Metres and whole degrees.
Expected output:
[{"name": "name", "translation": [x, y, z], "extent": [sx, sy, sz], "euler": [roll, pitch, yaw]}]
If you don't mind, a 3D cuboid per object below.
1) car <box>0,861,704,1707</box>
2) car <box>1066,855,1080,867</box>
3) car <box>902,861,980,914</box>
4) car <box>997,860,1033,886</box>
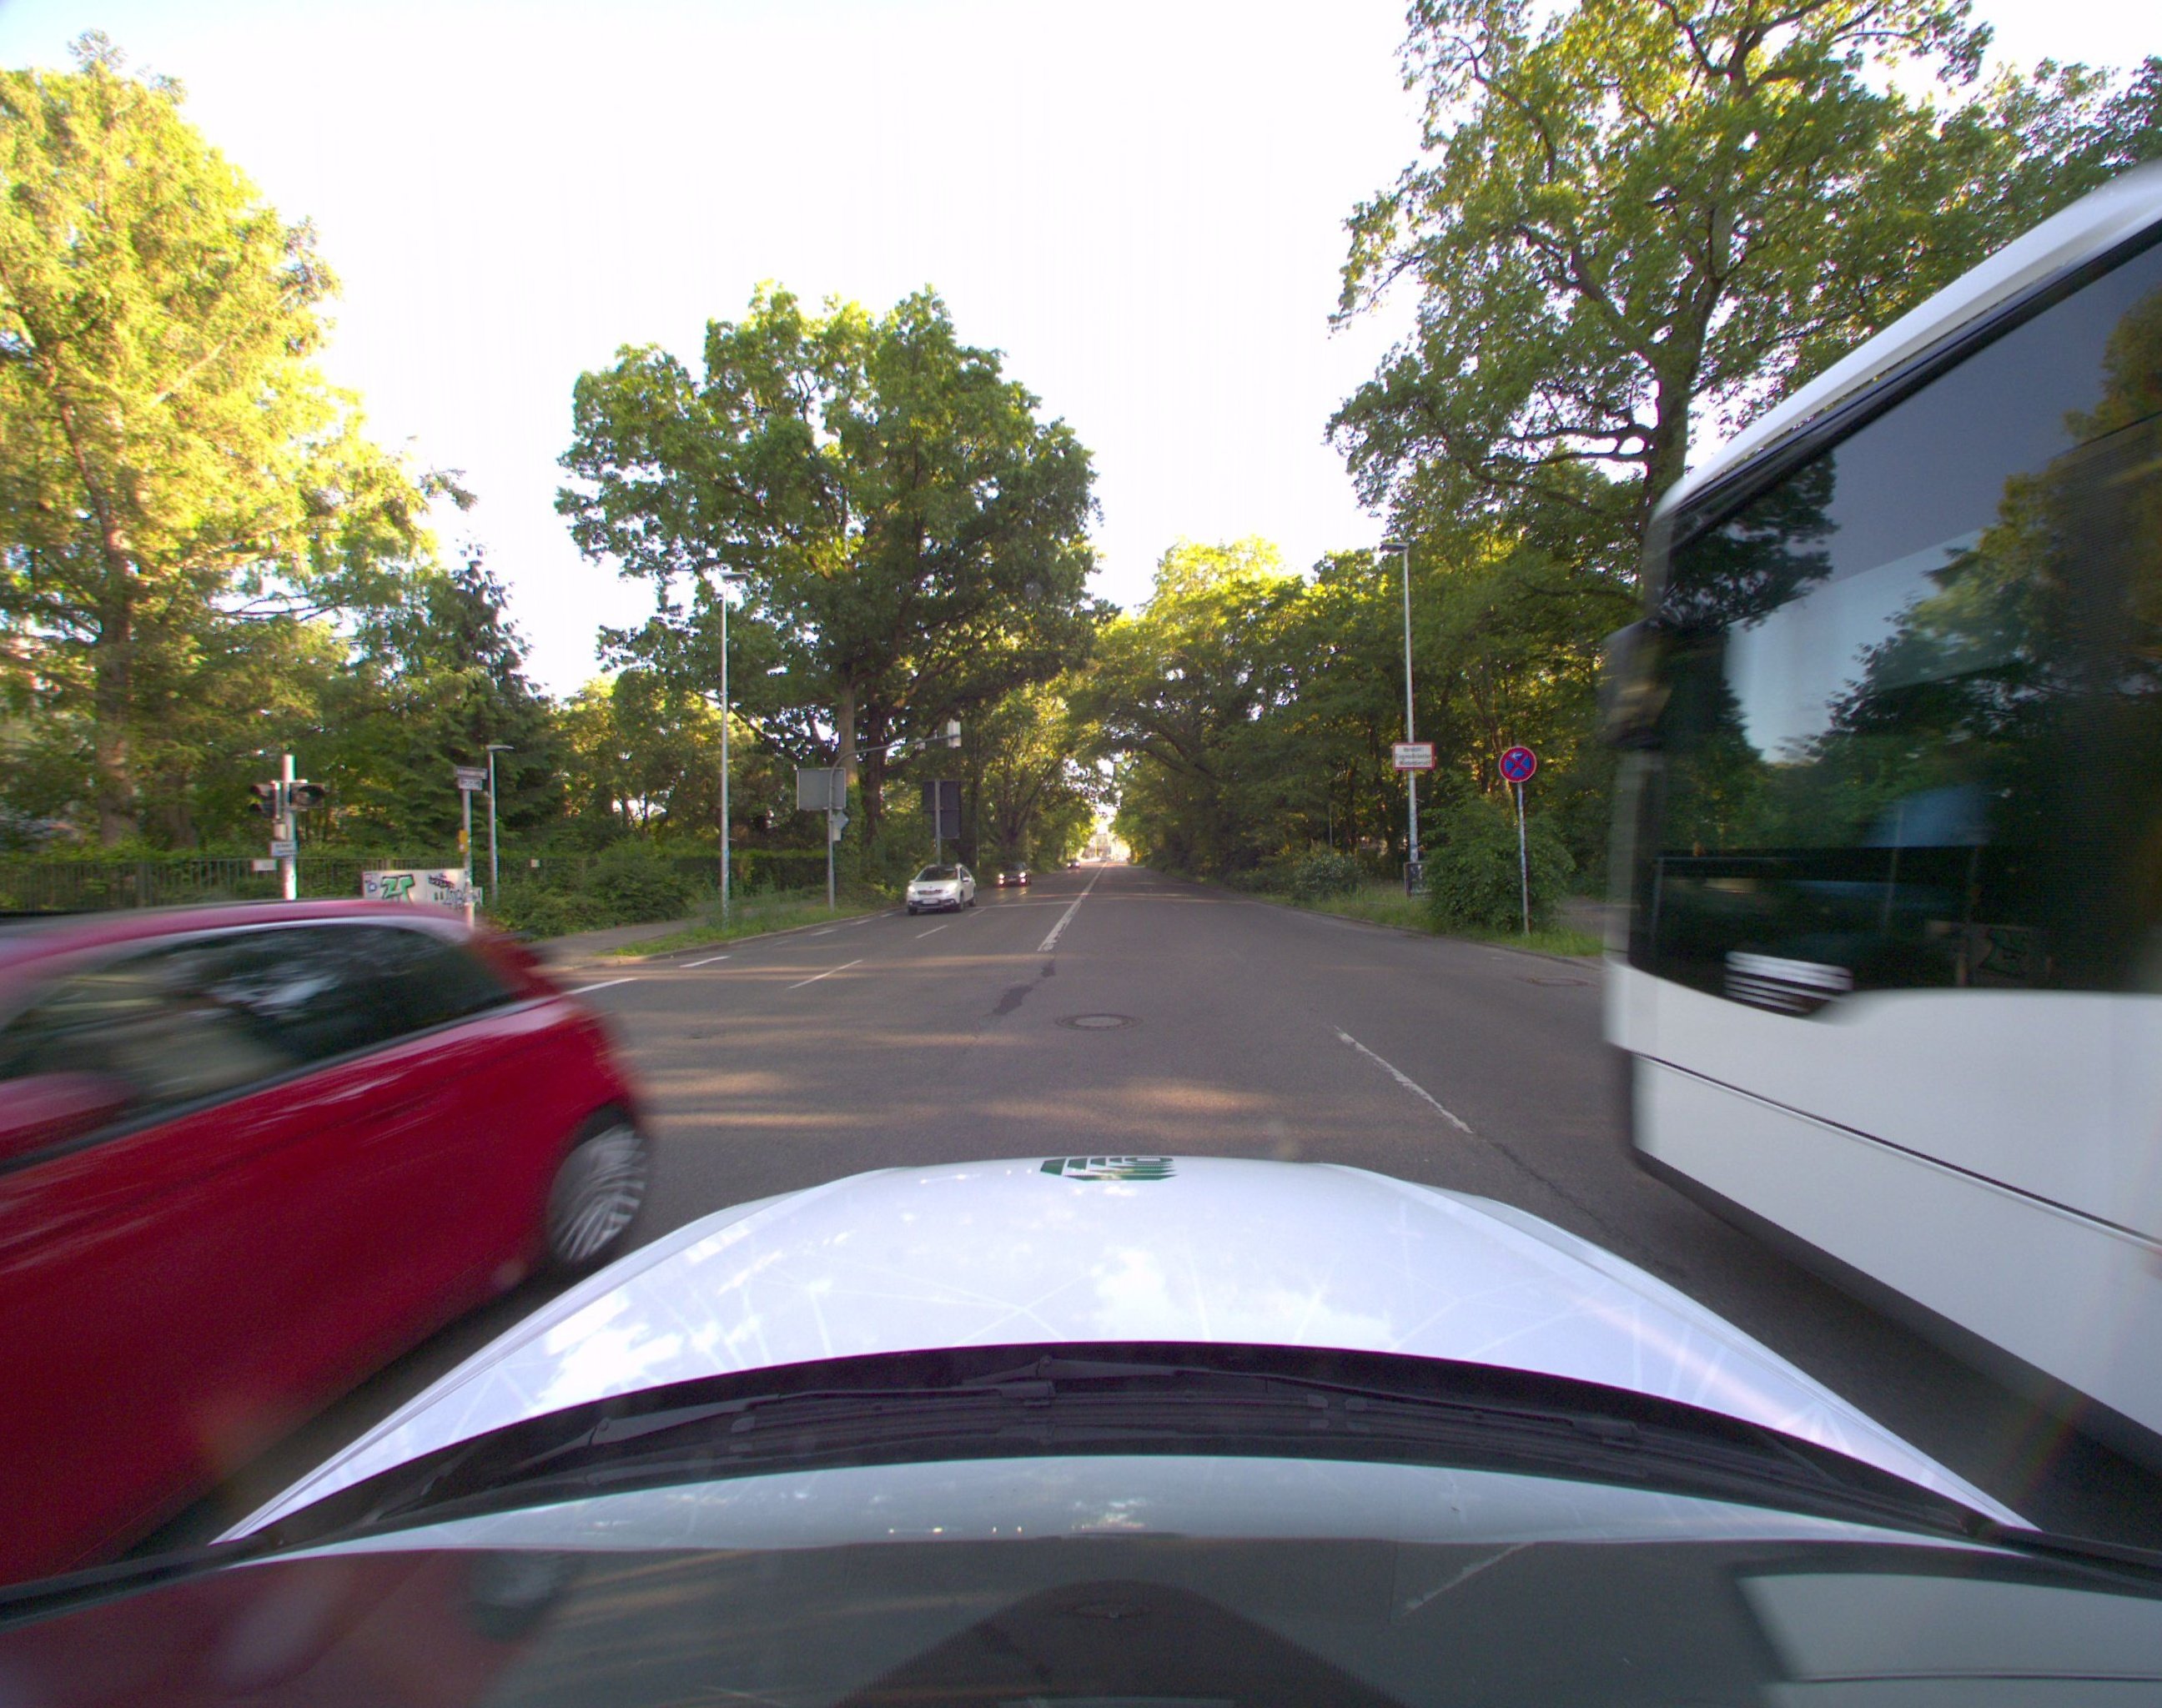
[{"name": "car", "translation": [-2.692, 0.803, 1.908], "extent": [1.744, 1.456, 3.641], "euler": [-3, 0, 2]}, {"name": "car", "translation": [-1.190, 1.049, 121.281], "extent": [1.800, 1.580, 4.321], "euler": [-3, 0, 2]}, {"name": "car", "translation": [-4.512, 1.037, 26.809], "extent": [1.671, 1.524, 3.903], "euler": [-3, 0, 2]}, {"name": "car", "translation": [-4.039, 1.146, 50.204], "extent": [1.701, 1.453, 3.641], "euler": [-3, 0, 2]}]
